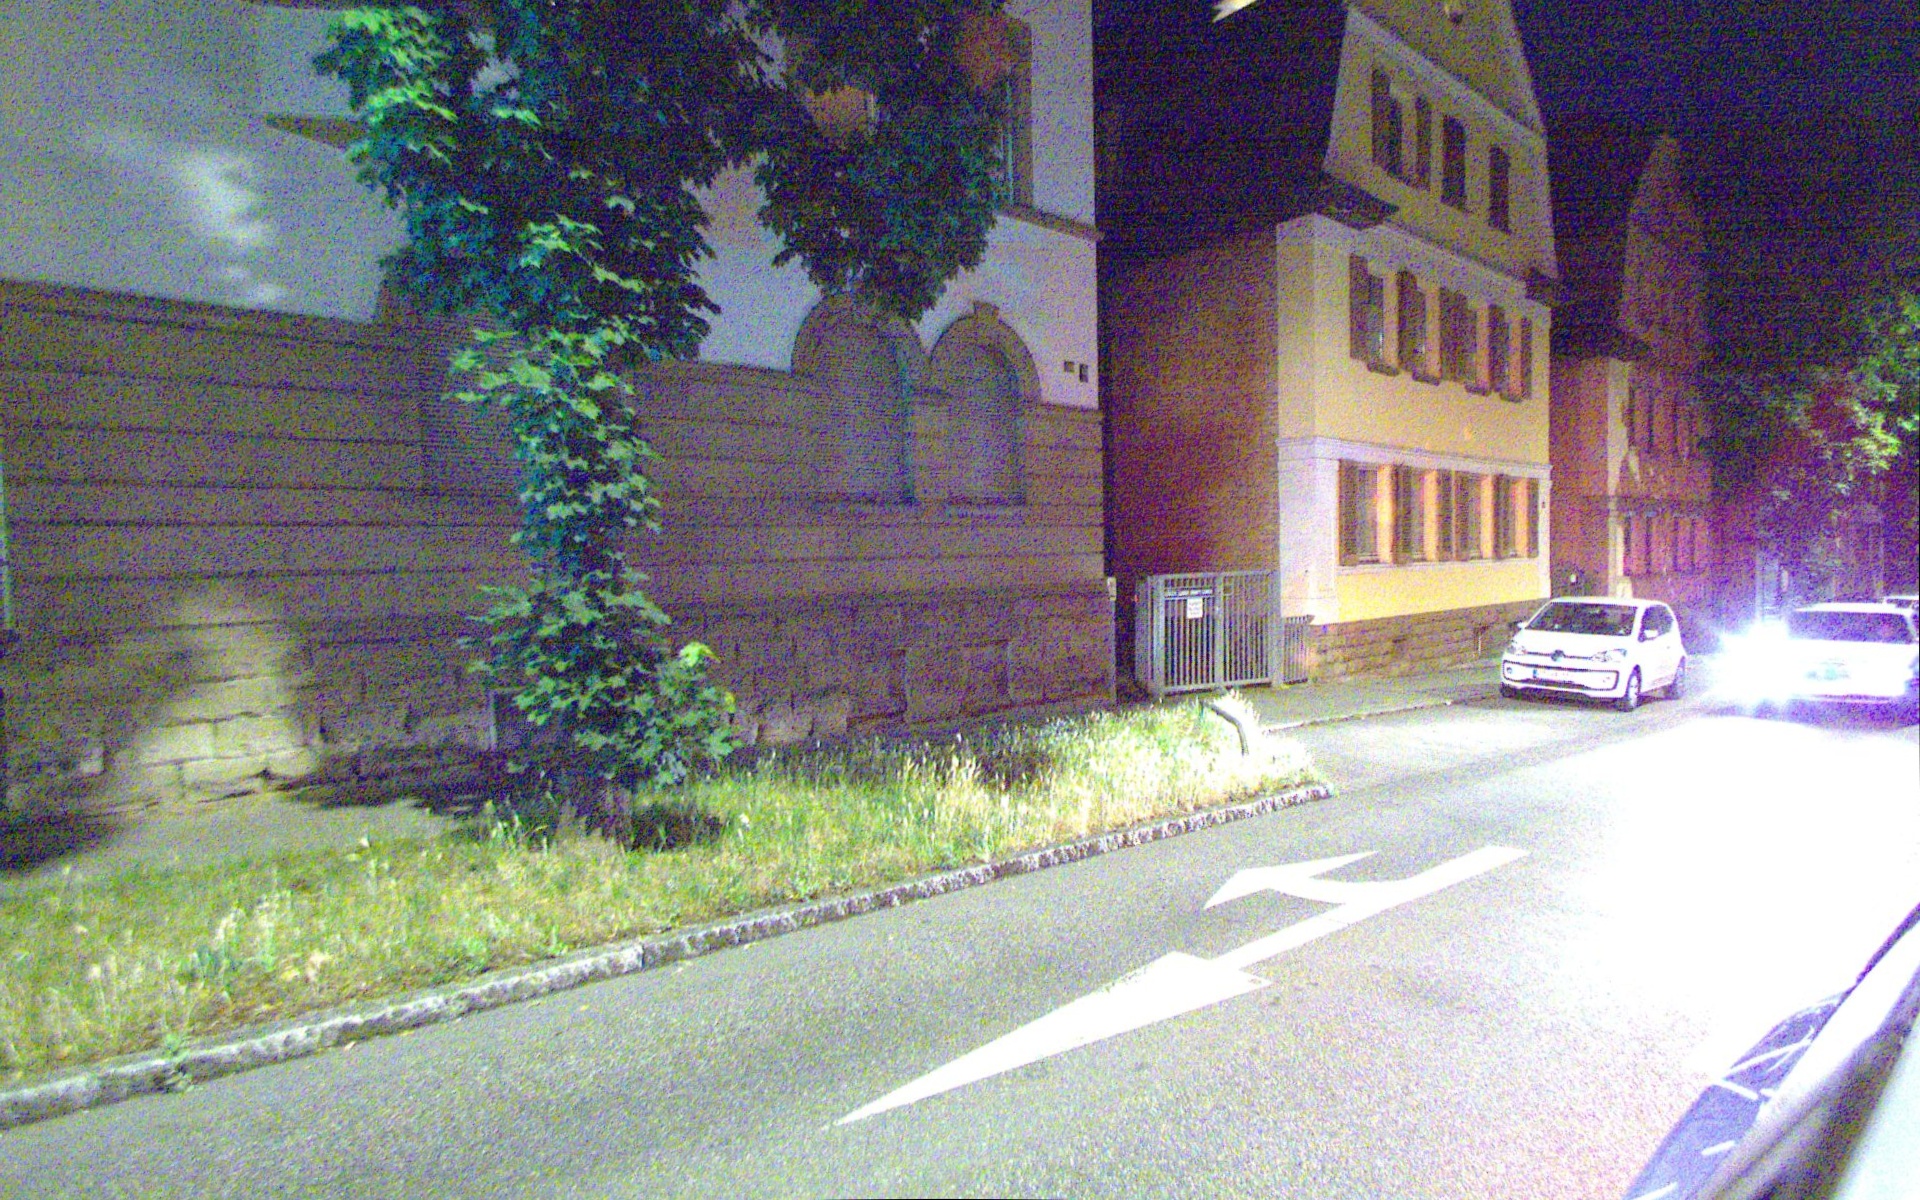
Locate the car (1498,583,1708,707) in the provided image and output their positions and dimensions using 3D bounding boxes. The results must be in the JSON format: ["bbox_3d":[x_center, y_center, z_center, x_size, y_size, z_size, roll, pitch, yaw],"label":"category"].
[{"bbox_3d":[9.294,0.559,14.548,3.425,1.527,1.610,0,2,-41],"label":"car"}]

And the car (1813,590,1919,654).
[{"bbox_3d":[23.621,0.510,26.285,3.824,1.516,1.740,0,2,-43],"label":"car"}]

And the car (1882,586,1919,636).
[{"bbox_3d":[33.545,0.370,35.142,4.107,1.673,1.850,0,0,-42],"label":"car"}]

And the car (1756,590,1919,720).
[{"bbox_3d":[12.184,0.624,13.588,3.933,1.505,1.778,-1,0,-43],"label":"car"}]
